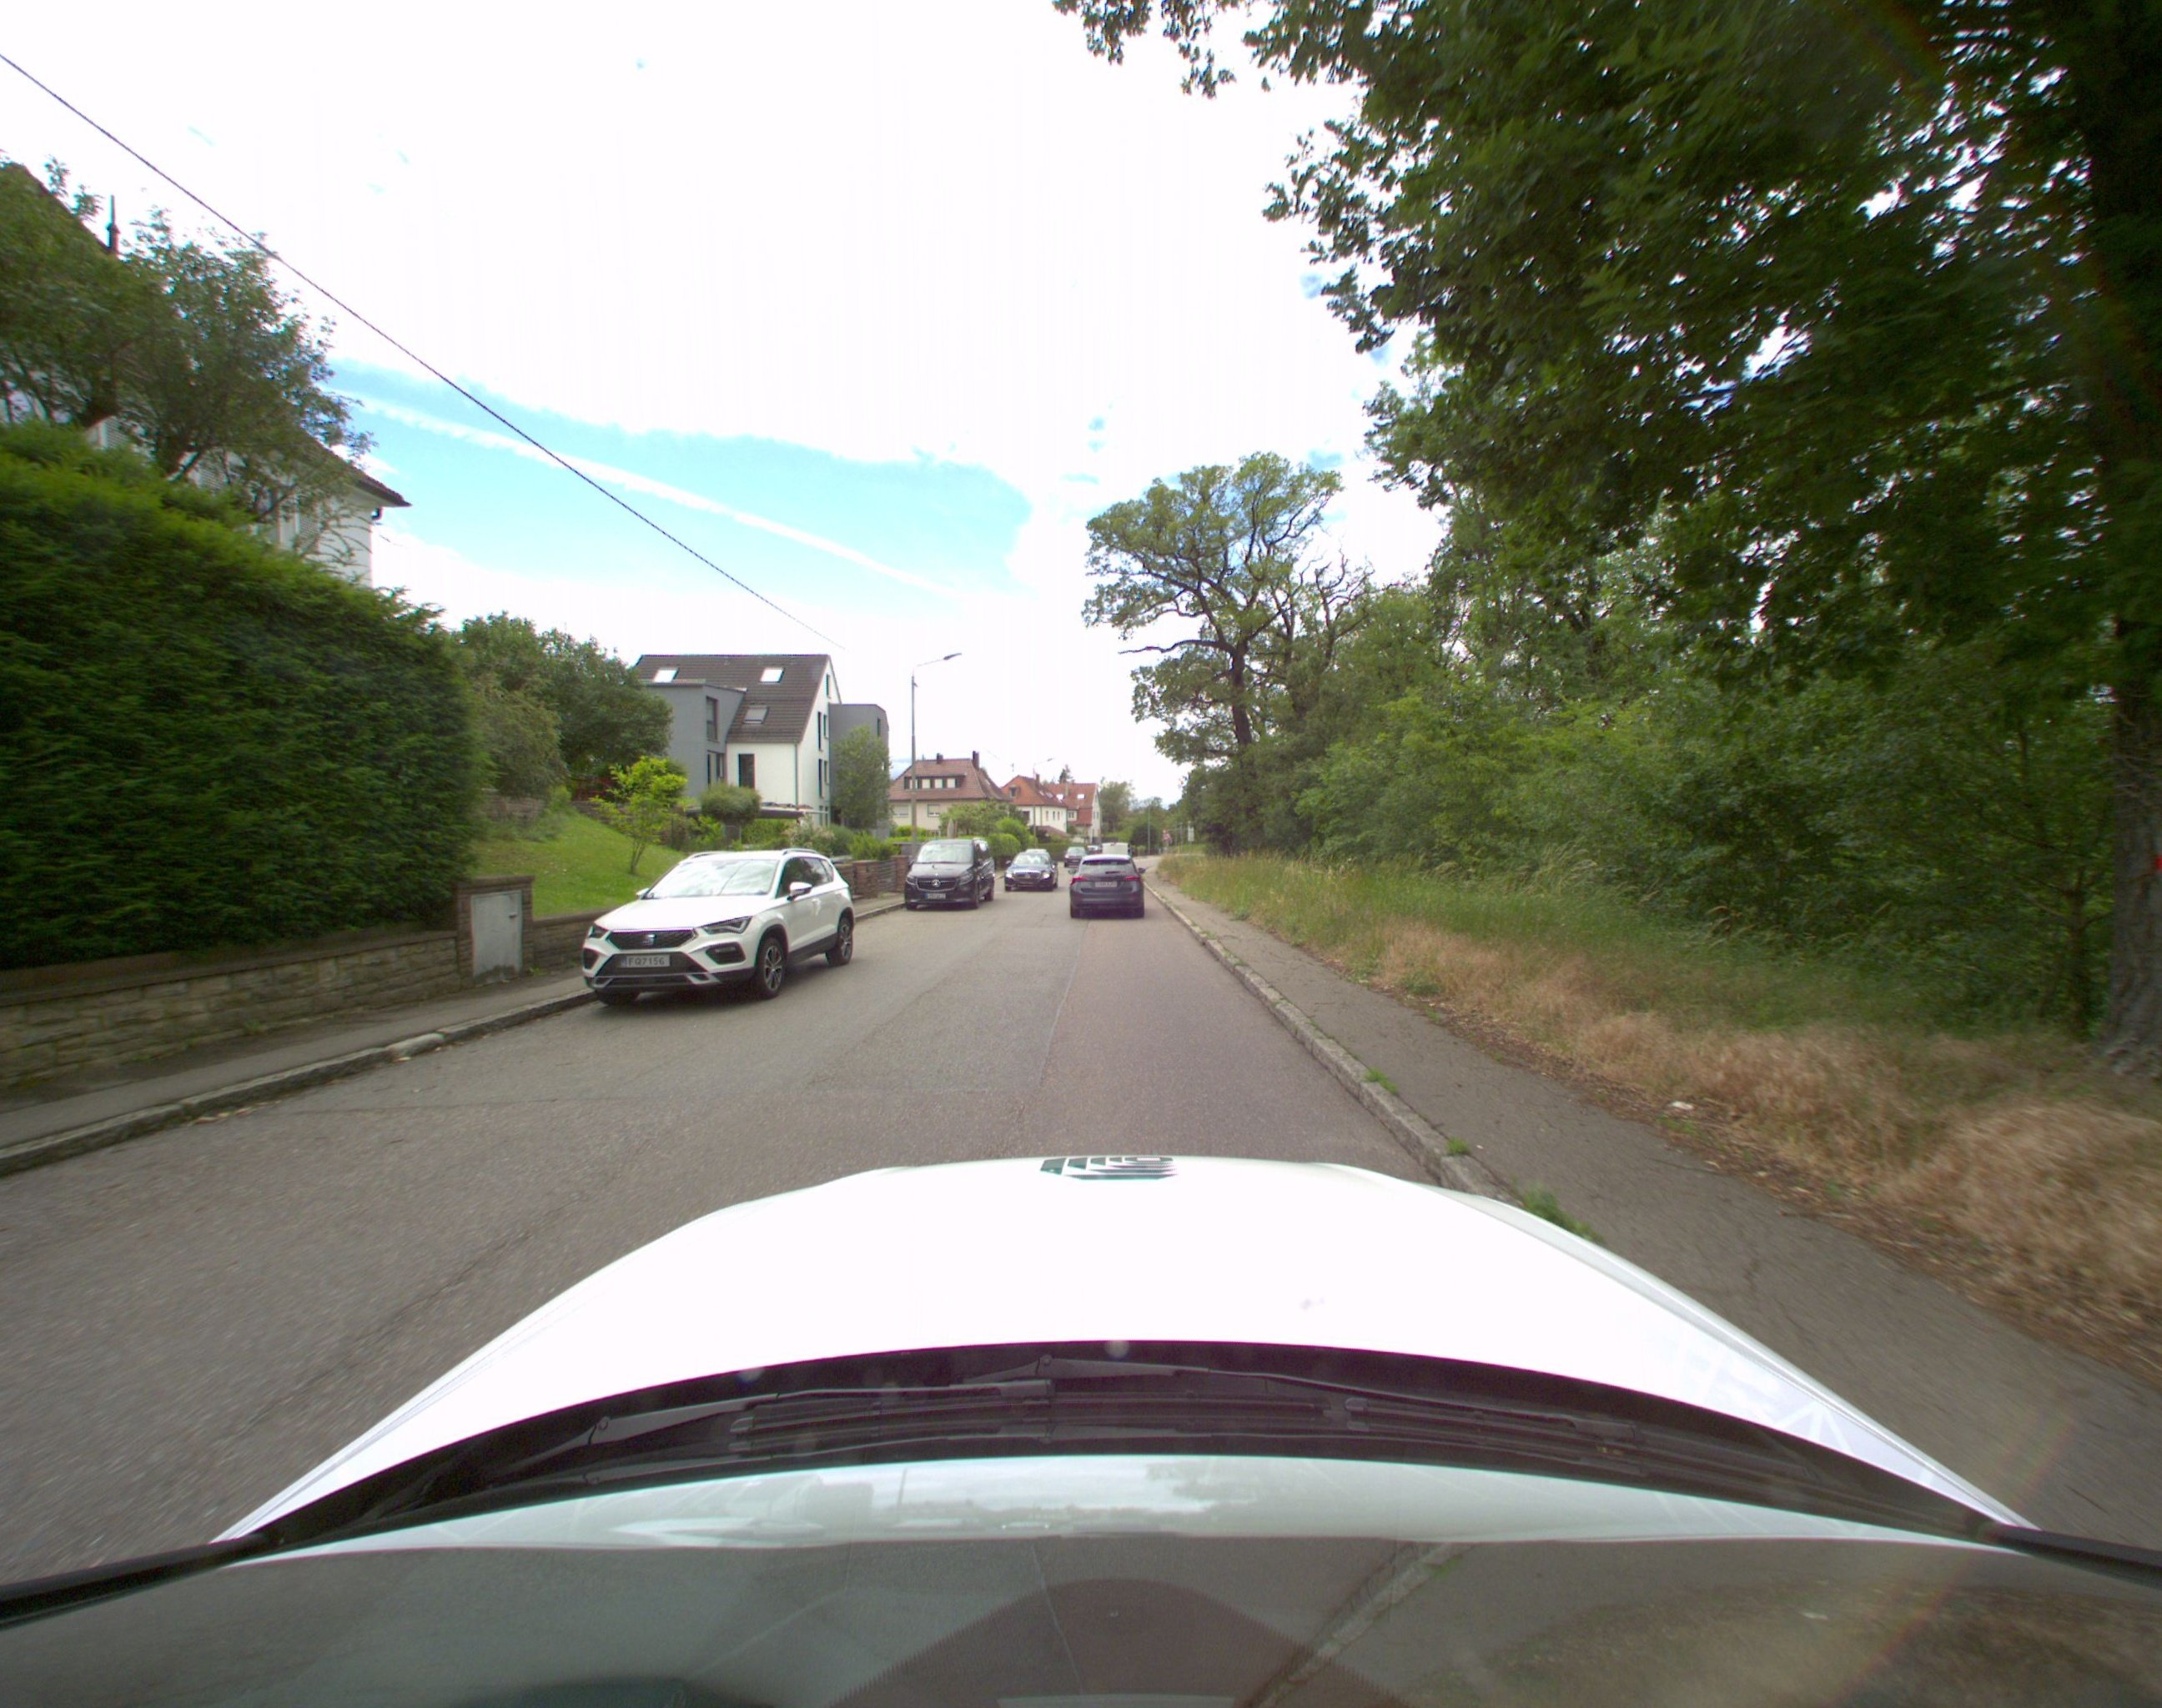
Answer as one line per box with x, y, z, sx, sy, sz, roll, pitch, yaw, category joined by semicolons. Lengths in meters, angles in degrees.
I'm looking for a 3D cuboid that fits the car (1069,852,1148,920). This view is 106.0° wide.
0.577;0.699;20.072;1.723;1.439;4.322;0;1;-1;car

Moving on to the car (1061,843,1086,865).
-0.568;-0.029;65.114;1.827;1.597;4.325;0;1;1;car

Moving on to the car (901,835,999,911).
-3.585;0.462;23.249;1.856;1.926;5.039;1;0;1;car

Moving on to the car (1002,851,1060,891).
-1.853;0.605;31.664;1.856;1.414;4.593;1;0;1;car

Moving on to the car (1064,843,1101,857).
0.219;-0.432;94.494;3.962;1.618;2.006;0;1;10;car

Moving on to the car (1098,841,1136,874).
2.271;0.182;50.733;2.061;1.922;4.930;0;0;6;car

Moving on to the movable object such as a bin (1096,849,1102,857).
2.006;-0.093;90.766;0.596;0.951;0.581;0;0;8;movable object such as a bin

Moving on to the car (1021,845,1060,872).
-2.351;0.241;48.594;1.775;1.500;4.020;1;0;5;car

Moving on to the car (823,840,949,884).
-7.833;0.309;33.064;4.604;1.697;1.999;0;0;-2;car

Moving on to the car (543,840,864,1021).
-4.148;0.718;9.839;1.832;1.648;4.185;-2;0;0;car
